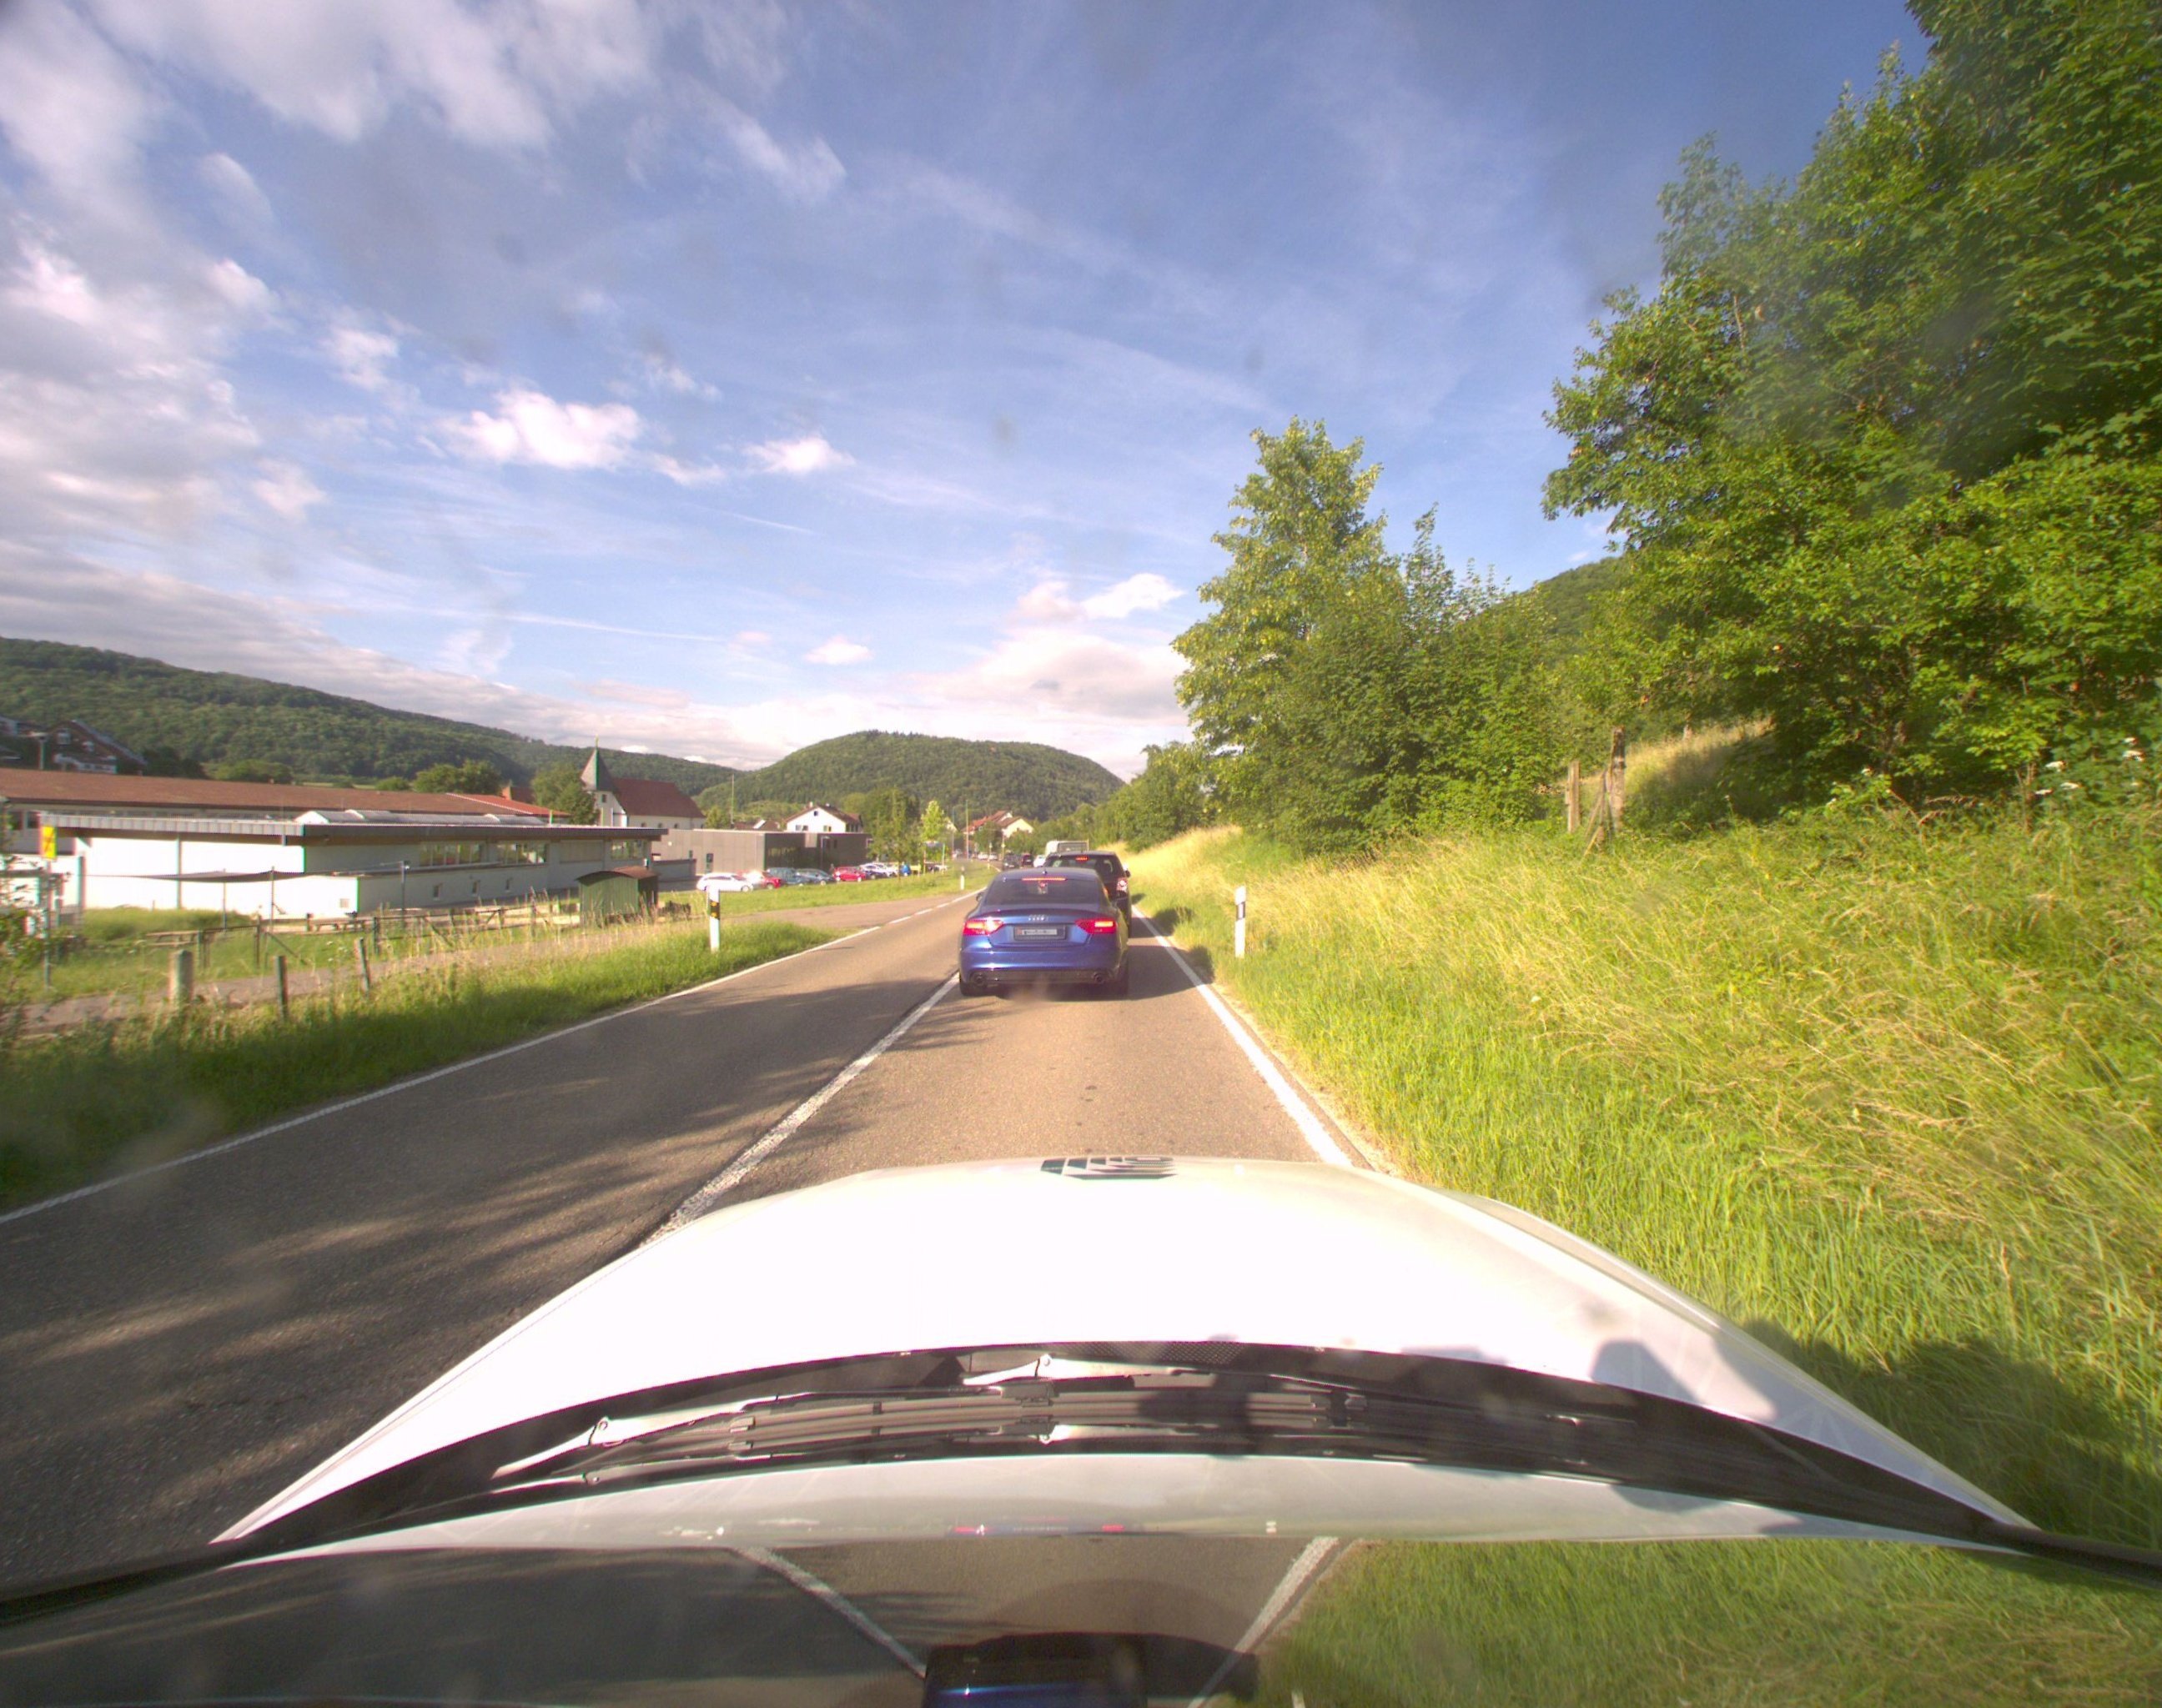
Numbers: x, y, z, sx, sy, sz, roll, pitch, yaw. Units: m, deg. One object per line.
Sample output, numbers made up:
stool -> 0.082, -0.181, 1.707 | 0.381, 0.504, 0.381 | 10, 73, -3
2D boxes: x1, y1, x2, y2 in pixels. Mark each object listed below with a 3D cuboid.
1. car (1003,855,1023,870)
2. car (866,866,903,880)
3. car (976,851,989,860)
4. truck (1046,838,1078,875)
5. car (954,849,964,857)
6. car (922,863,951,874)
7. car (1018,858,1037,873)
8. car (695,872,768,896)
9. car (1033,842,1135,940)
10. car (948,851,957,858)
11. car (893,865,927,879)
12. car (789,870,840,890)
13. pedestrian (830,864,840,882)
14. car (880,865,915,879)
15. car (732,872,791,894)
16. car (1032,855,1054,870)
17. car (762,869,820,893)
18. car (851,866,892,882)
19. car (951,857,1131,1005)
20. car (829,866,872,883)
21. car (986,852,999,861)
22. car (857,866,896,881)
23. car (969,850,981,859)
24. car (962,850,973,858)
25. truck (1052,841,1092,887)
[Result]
car -> -6.882, 0.859, 81.929 | 1.703, 1.430, 4.038 | 0, -1, -8
car -> -23.471, 2.265, 97.533 | 3.975, 1.711, 1.999 | 0, -1, -1
car -> -19.086, 0.254, 157.750 | 1.850, 1.712, 3.977 | 0, -1, -17
truck -> -1.484, 0.225, 60.820 | 2.225, 2.570, 6.700 | 0, -1, -3
car -> -28.780, -0.191, 192.074 | 1.850, 1.712, 3.977 | 0, -1, -17
car -> -21.387, 2.144, 120.588 | 3.975, 1.579, 1.752 | 0, -1, -1
car -> -6.345, 1.371, 96.495 | 1.846, 1.712, 3.986 | 0, -1, -10
car -> -26.826, 2.298, 62.575 | 4.717, 1.711, 1.999 | 0, -1, -1
car -> 0.130, 0.661, 16.064 | 1.747, 1.681, 3.848 | 0, -1, 2
car -> -31.833, 0.100, 201.739 | 1.850, 1.712, 3.977 | 0, -1, -17
car -> -22.245, 2.327, 105.846 | 3.975, 1.711, 1.999 | 0, -1, -1
car -> -24.603, 2.390, 75.290 | 3.975, 1.711, 1.999 | 0, -1, -1
pedestrian -> -29.267, 2.253, 96.820 | 0.822, 2.014, 0.973 | 0, -1, 1
car -> -23.267, 2.313, 103.319 | 3.975, 1.711, 1.999 | 0, -1, -1
car -> -25.650, 2.314, 65.457 | 3.975, 1.711, 1.999 | 0, -1, -1
car -> -3.903, 0.867, 83.038 | 1.846, 1.482, 3.986 | 0, -1, -10
car -> -25.338, 2.361, 71.258 | 4.393, 2.008, 1.999 | 0, -1, -1
car -> -23.271, 2.204, 90.586 | 3.975, 1.711, 1.999 | 0, -1, -1
car -> -0.308, 0.765, 9.854 | 1.747, 1.430, 3.848 | 0, -1, 2
car -> -24.285, 2.172, 86.026 | 3.975, 1.711, 1.999 | 0, -1, -1
car -> -15.879, 0.477, 145.999 | 1.847, 1.712, 3.983 | 0, -1, -13
car -> -23.655, 2.238, 94.250 | 3.975, 1.711, 1.999 | 0, -1, -1
car -> -22.242, 0.105, 170.549 | 1.850, 1.712, 3.977 | 0, -1, -17
car -> -25.058, -0.026, 180.223 | 1.850, 1.712, 3.977 | 0, -1, -17
truck -> -0.596, 0.580, 48.722 | 2.224, 2.570, 6.098 | 0, -1, -2
